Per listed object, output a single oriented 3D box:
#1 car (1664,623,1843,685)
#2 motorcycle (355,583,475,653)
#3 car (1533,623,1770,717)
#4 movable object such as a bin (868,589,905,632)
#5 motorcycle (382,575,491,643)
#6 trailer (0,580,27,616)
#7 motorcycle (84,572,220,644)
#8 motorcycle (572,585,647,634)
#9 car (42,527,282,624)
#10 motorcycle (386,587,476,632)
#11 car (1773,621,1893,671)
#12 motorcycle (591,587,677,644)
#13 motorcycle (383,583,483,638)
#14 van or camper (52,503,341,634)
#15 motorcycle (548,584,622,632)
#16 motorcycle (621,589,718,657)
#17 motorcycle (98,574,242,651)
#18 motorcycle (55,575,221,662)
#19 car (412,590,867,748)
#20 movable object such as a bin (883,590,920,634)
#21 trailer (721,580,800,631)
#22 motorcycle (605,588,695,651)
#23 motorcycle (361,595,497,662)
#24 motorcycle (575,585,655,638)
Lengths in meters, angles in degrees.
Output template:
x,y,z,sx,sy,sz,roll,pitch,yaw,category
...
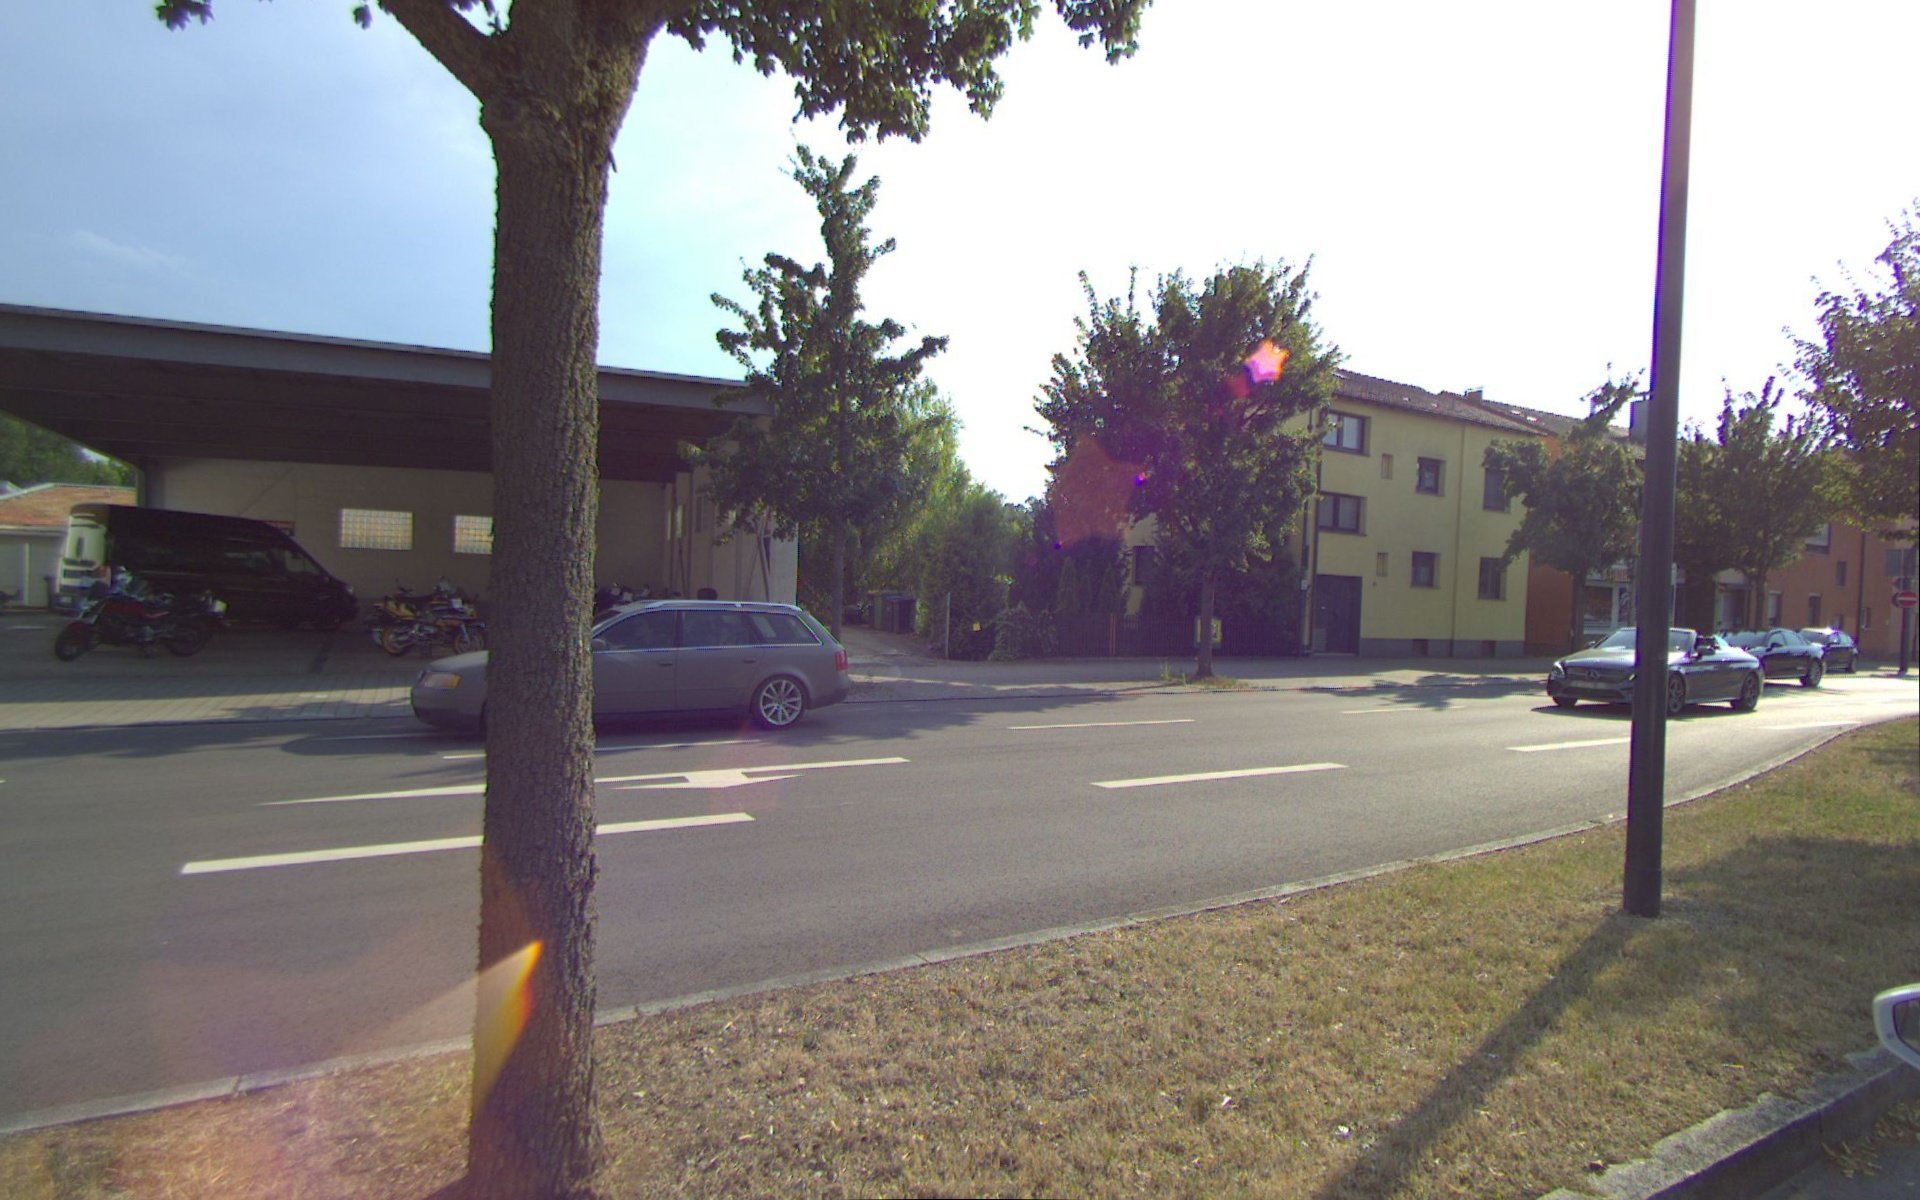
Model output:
x,y,z,sx,sy,sz,roll,pitch,yaw,category
20.471,1.367,25.891,4.583,1.440,1.837,2,0,-26,car
-11.071,0.354,20.445,2.111,1.347,0.563,2,0,0,motorcycle
11.885,1.127,17.190,4.430,1.367,1.770,2,0,-33,car
-1.996,0.281,27.271,0.712,1.101,0.727,1,3,-30,movable object such as a bin
-11.852,0.193,22.771,2.111,1.468,0.594,2,0,0,motorcycle
-26.691,-0.080,26.547,2.425,0.836,3.163,2,2,-32,trailer
-15.833,0.153,19.747,0.637,1.329,2.007,2,0,23,motorcycle
-9.721,0.267,27.927,0.553,1.325,2.086,2,0,30,motorcycle
-20.558,-0.577,26.119,2.158,2.279,4.386,2,0,19,car
-14.312,0.255,27.179,2.111,1.138,0.563,2,0,0,motorcycle
30.888,1.620,35.535,3.949,1.573,1.836,2,2,-28,car
-7.948,0.371,24.587,0.612,1.325,2.086,2,0,30,motorcycle
-13.041,0.253,24.873,2.111,1.275,0.647,2,0,0,motorcycle
-17.694,-0.648,23.600,1.964,2.716,5.030,2,0,29,van or camper
-10.728,0.230,28.829,0.553,1.325,2.086,2,0,30,motorcycle
-5.934,0.459,20.662,0.553,1.325,2.112,2,0,30,motorcycle
-14.436,0.223,18.422,0.637,1.329,2.007,2,0,23,motorcycle
-13.444,0.300,16.487,0.659,1.329,2.000,2,0,37,motorcycle
-3.525,0.701,11.353,4.655,1.482,1.678,2,0,-30,car
-1.554,0.312,26.501,0.688,1.101,0.727,1,3,-30,movable object such as a bin
-5.285,0.099,27.014,1.692,1.199,3.594,2,1,-5,trailer
-6.910,0.432,22.473,0.553,1.325,2.086,2,0,30,motorcycle
-9.671,0.514,18.331,2.111,1.139,0.631,2,0,0,motorcycle
-8.929,0.299,26.074,0.573,1.325,2.086,2,0,30,motorcycle
